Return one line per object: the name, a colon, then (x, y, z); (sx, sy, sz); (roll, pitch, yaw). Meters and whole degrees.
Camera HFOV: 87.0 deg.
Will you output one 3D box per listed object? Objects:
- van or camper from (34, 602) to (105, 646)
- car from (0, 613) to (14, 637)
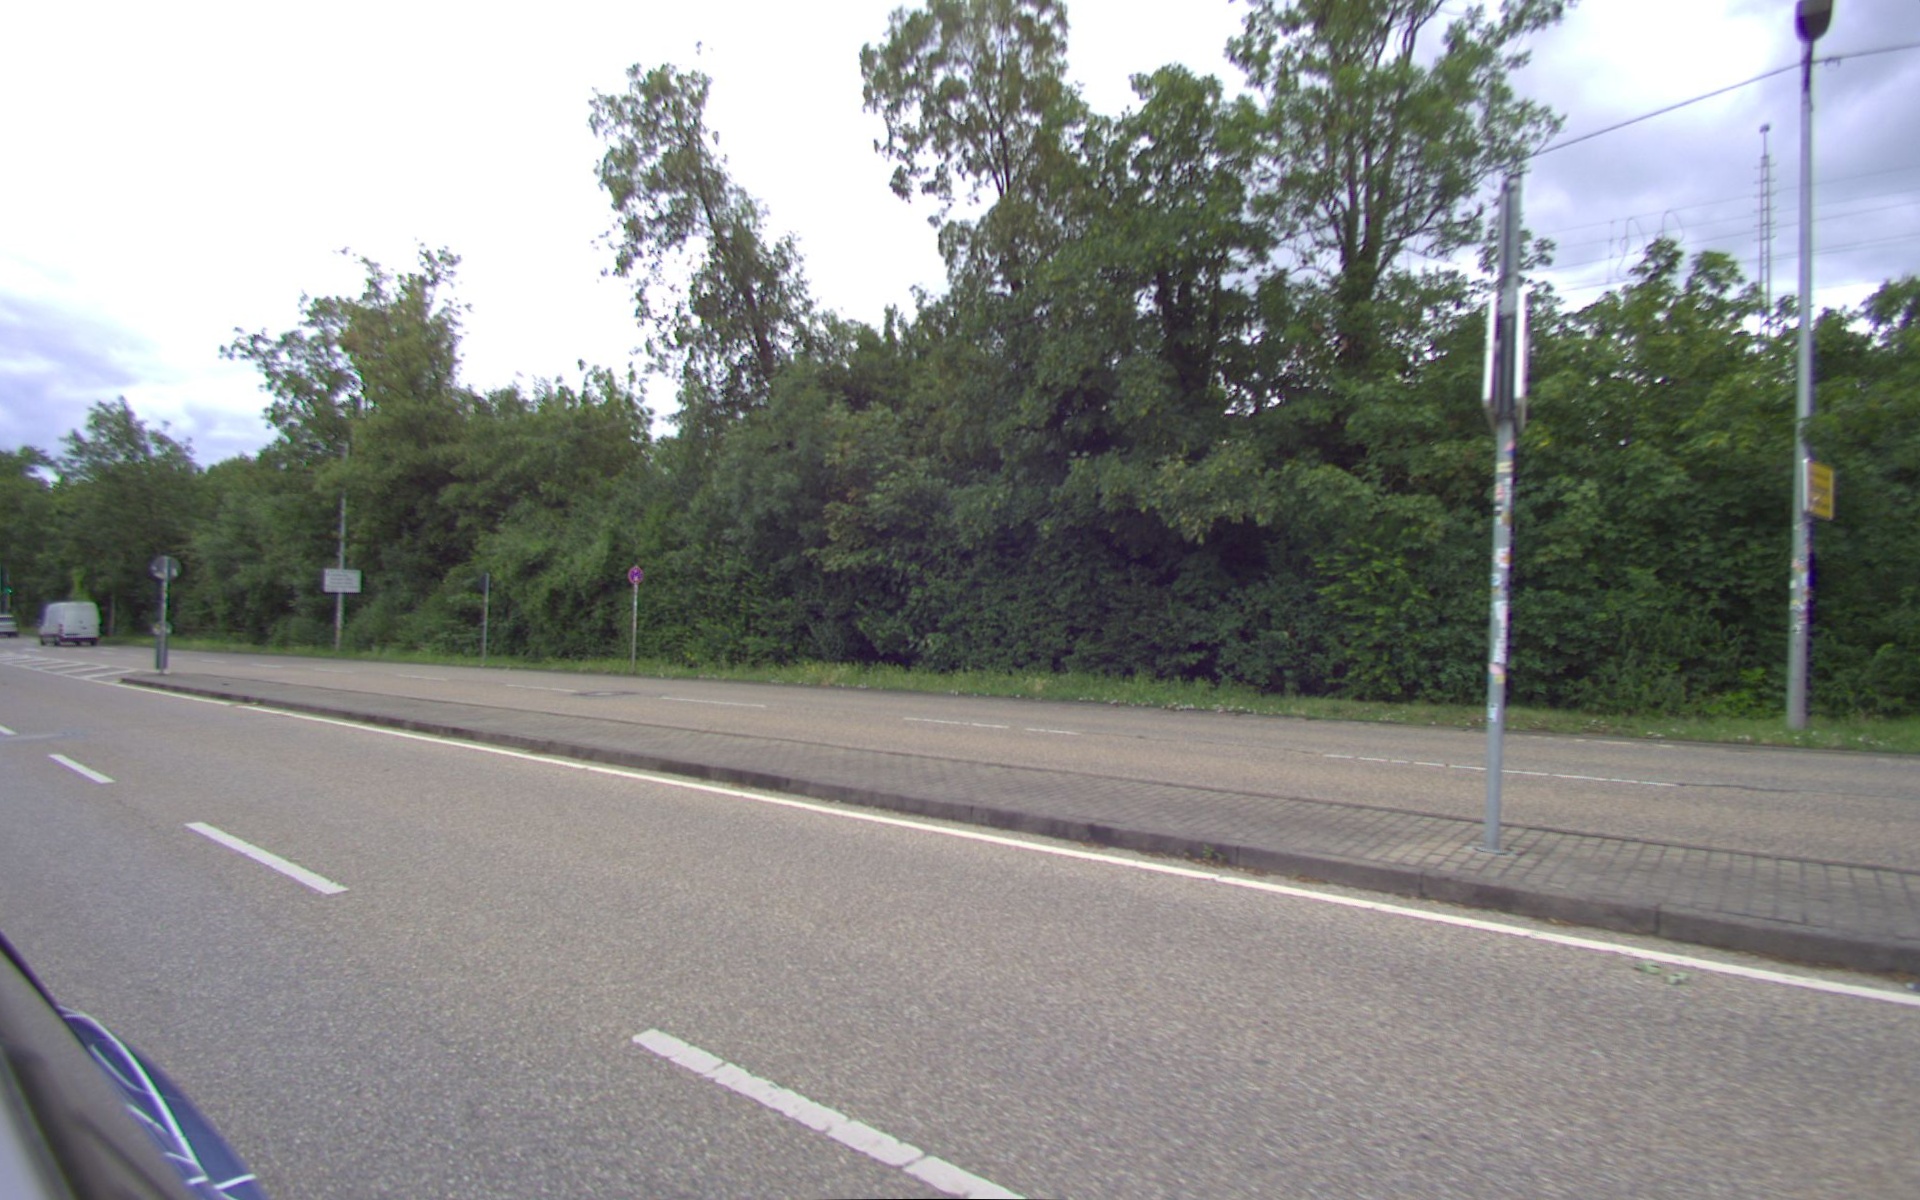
van or camper: (-54.211, 1.453, 61.559); (6.854, 2.574, 2.259); (-1, -1, 40)
car: (-75.819, 1.973, 79.359); (4.378, 1.844, 1.795); (-2, -3, 39)
